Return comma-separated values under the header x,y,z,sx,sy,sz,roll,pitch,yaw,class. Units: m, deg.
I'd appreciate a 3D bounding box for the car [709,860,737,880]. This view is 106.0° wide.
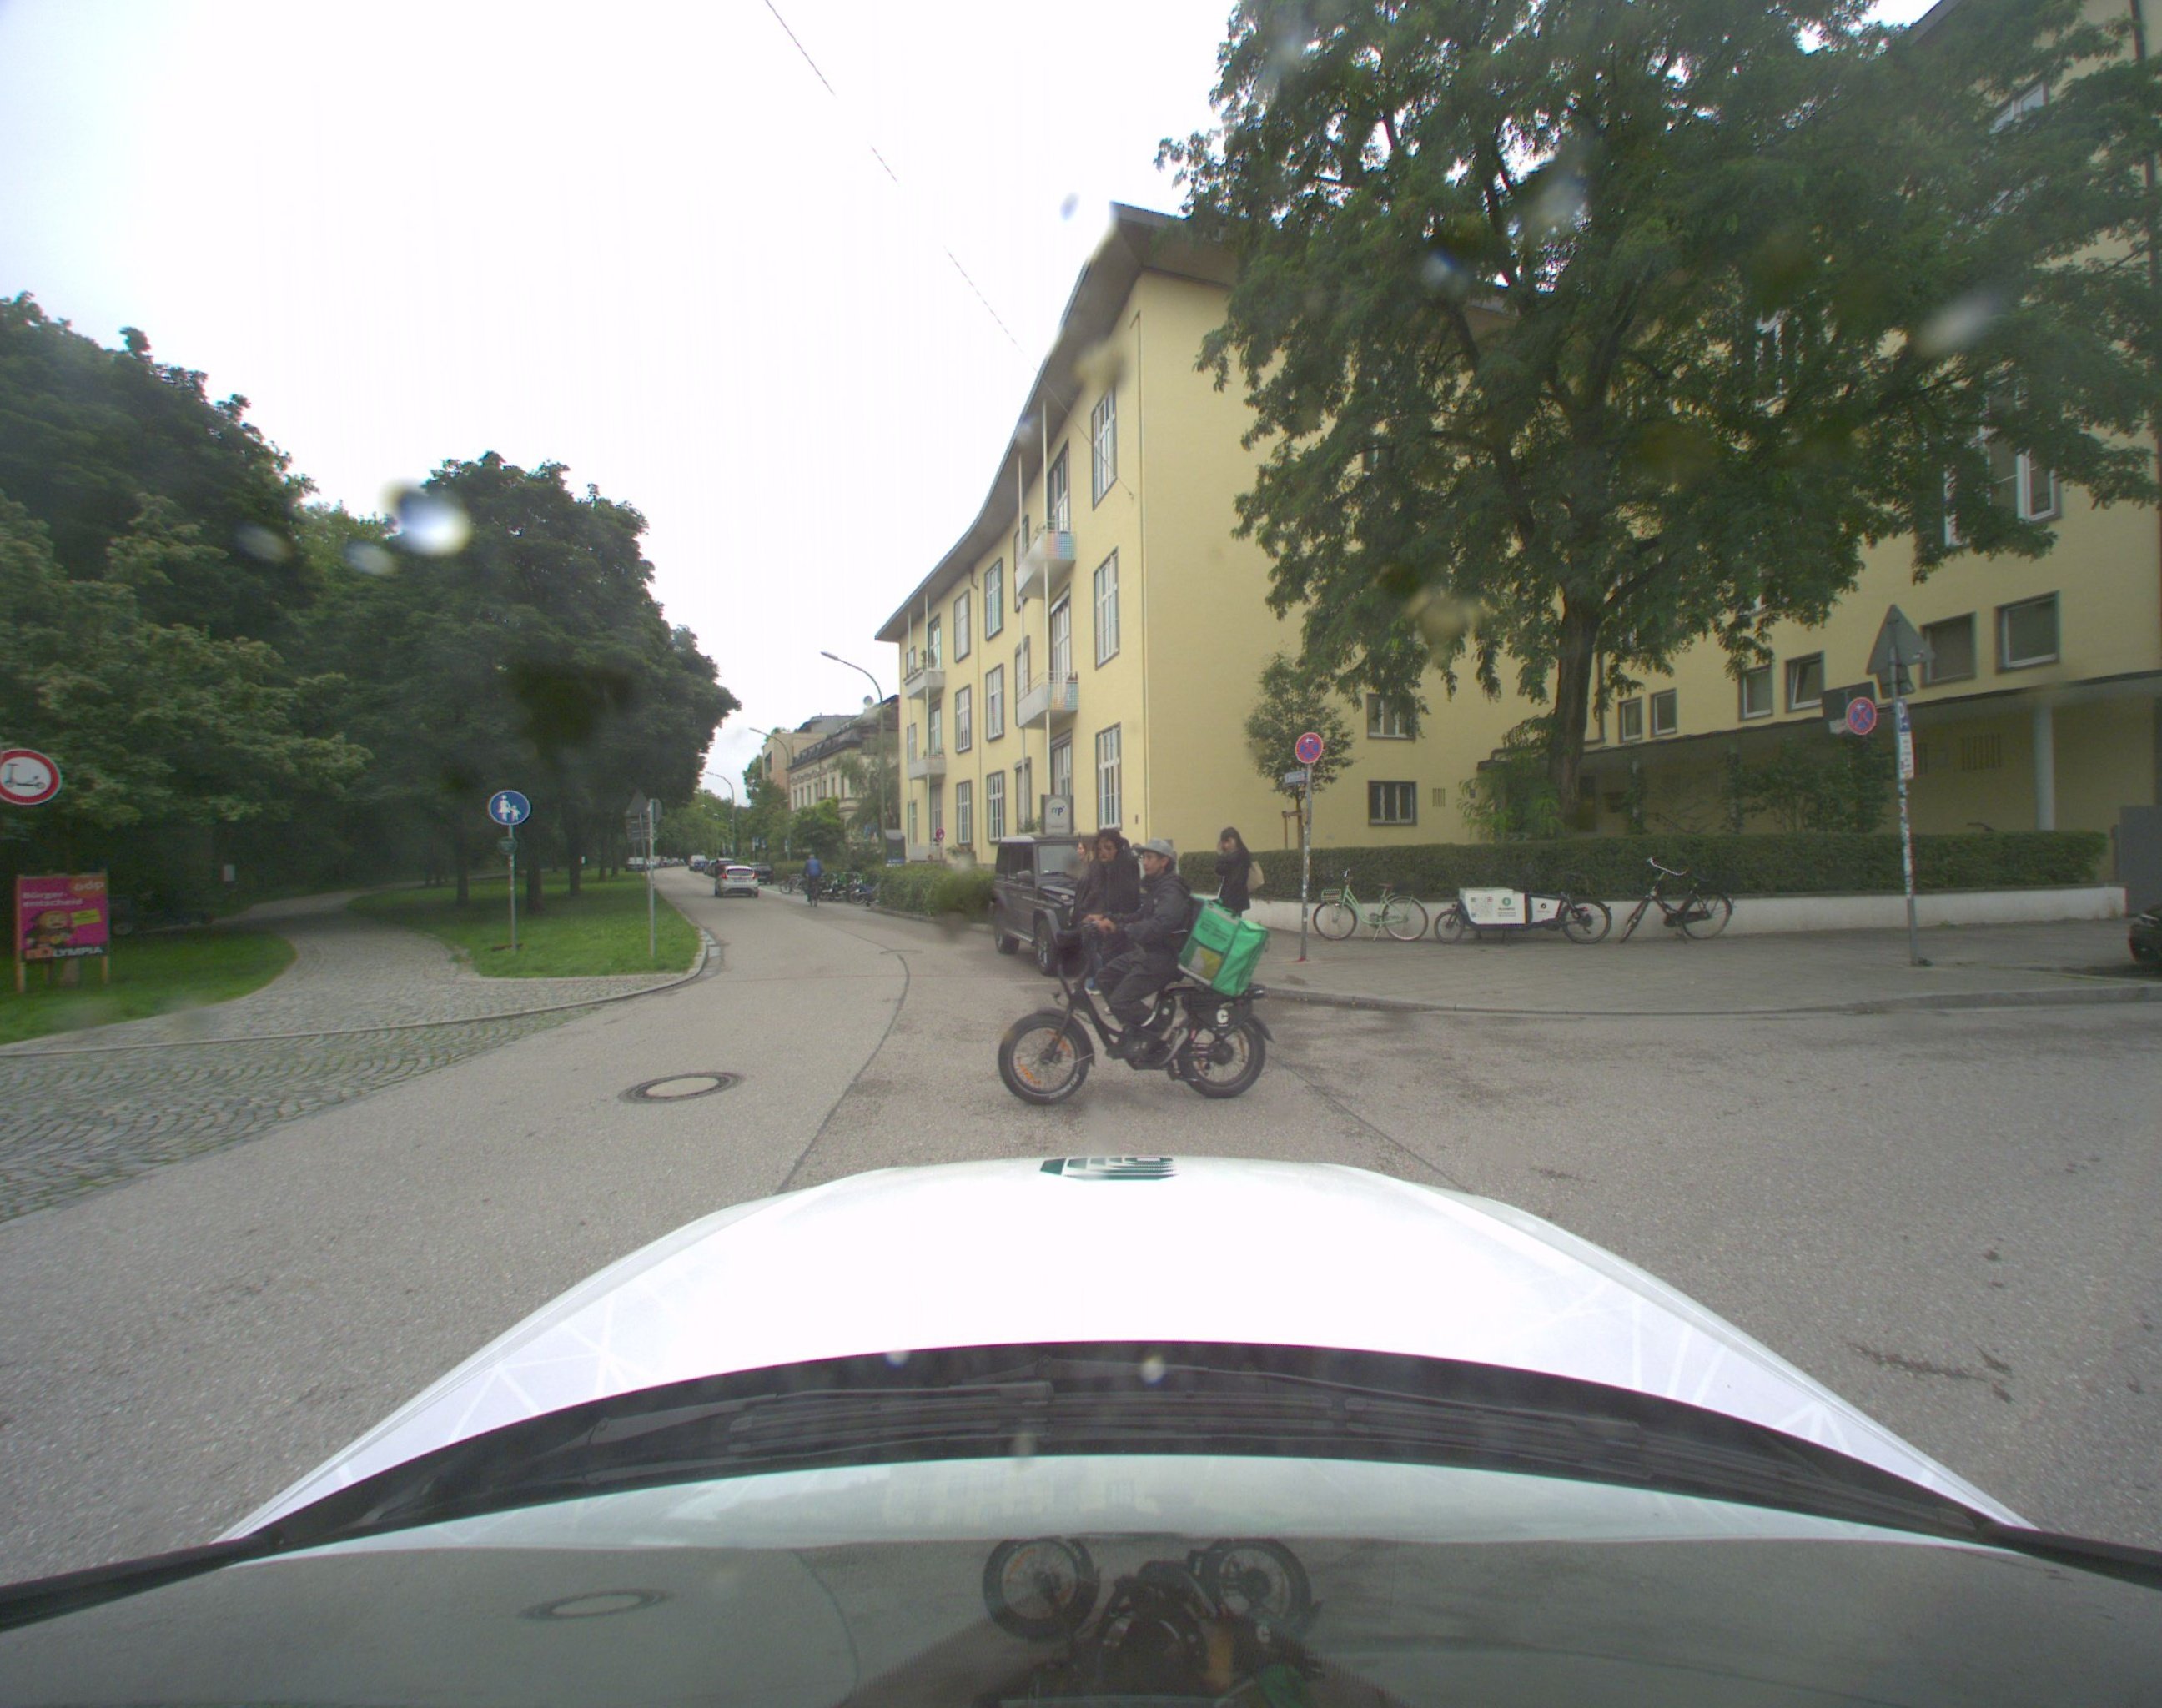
x,y,z,sx,sy,sz,roll,pitch,yaw,class
-31.614,1.417,71.907,1.804,1.680,3.961,-1,0,-30,car

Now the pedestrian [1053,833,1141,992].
x,y,z,sx,sy,sz,roll,pitch,yaw,class
0.195,0.649,9.384,0.820,1.746,0.743,-1,0,15,pedestrian

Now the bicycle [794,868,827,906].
x,y,z,sx,sy,sz,roll,pitch,yaw,class
-9.805,1.159,29.479,0.925,1.252,2.304,-1,0,-23,bicycle

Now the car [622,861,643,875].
x,y,z,sx,sy,sz,roll,pitch,yaw,class
-50.740,1.574,92.186,2.006,1.600,4.425,-1,0,-29,car

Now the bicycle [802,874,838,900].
x,y,z,sx,sy,sz,roll,pitch,yaw,class
-11.128,1.384,34.761,0.404,1.014,1.547,-2,0,32,bicycle

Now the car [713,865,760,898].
x,y,z,sx,sy,sz,roll,pitch,yaw,class
-16.044,1.217,37.867,1.757,1.406,3.694,-1,0,-27,car

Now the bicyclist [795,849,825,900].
x,y,z,sx,sy,sz,roll,pitch,yaw,class
-9.815,0.725,29.506,0.918,1.764,1.206,-1,0,-23,bicyclist

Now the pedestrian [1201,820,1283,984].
x,y,z,sx,sy,sz,roll,pitch,yaw,class
1.899,0.553,9.722,0.845,1.857,0.768,-3,-1,8,pedestrian

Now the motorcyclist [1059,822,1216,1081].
x,y,z,sx,sy,sz,roll,pitch,yaw,class
0.330,0.572,5.161,0.893,1.501,0.713,-1,0,-1,motorcyclist

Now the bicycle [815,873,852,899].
x,y,z,sx,sy,sz,roll,pitch,yaw,class
-10.348,1.340,34.091,0.404,1.014,1.548,-2,0,36,bicycle

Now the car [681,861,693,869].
x,y,z,sx,sy,sz,roll,pitch,yaw,class
-84.584,2.347,174.905,2.001,1.600,4.436,-1,0,-20,car

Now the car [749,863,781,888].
x,y,z,sx,sy,sz,roll,pitch,yaw,class
-21.394,1.435,55.084,1.656,1.558,3.528,-1,0,-27,car

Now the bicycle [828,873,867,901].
x,y,z,sx,sy,sz,roll,pitch,yaw,class
-9.536,1.340,33.316,0.362,1.014,1.547,-2,0,40,bicycle

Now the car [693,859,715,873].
x,y,z,sx,sy,sz,roll,pitch,yaw,class
-44.152,1.406,95.275,2.006,1.600,4.213,-1,0,-30,car

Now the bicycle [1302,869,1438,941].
x,y,z,sx,sy,sz,roll,pitch,yaw,class
4.599,0.820,13.059,1.924,1.085,0.532,-4,-2,38,bicycle

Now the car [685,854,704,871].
x,y,z,sx,sy,sz,roll,pitch,yaw,class
-48.973,1.078,103.227,2.077,1.966,4.934,-1,0,-26,car

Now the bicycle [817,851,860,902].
x,y,z,sx,sy,sz,roll,pitch,yaw,class
-9.982,0.906,33.556,0.451,2.013,1.688,-2,0,36,bicycle

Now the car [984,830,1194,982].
x,y,z,sx,sy,sz,roll,pitch,yaw,class
-0.119,0.660,12.726,1.879,1.887,4.590,-1,0,-18,car

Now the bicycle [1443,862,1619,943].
x,y,z,sx,sy,sz,roll,pitch,yaw,class
6.568,0.711,11.988,2.153,1.115,0.642,-1,0,11,bicycle

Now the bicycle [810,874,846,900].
x,y,z,sx,sy,sz,roll,pitch,yaw,class
-10.709,1.396,34.491,0.404,1.014,1.547,-2,0,32,bicycle

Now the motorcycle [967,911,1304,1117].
x,y,z,sx,sy,sz,roll,pitch,yaw,class
0.321,0.965,5.156,1.966,1.098,0.718,-1,0,-2,motorcycle

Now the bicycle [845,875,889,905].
x,y,z,sx,sy,sz,roll,pitch,yaw,class
-8.033,1.344,30.637,1.543,1.014,0.363,-2,0,-31,bicycle

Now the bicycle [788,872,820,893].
x,y,z,sx,sy,sz,roll,pitch,yaw,class
-14.326,1.474,42.143,0.404,1.014,1.547,-2,0,45,bicycle

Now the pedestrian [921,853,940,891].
x,y,z,sx,sy,sz,roll,pitch,yaw,class
-6.848,0.802,37.073,0.635,1.684,0.691,-2,0,-29,pedestrian

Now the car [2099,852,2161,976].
x,y,z,sx,sy,sz,roll,pitch,yaw,class
14.039,0.592,8.751,4.311,1.367,1.660,-1,-3,-4,car

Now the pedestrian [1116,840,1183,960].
x,y,z,sx,sy,sz,roll,pitch,yaw,class
1.040,0.680,12.583,0.846,1.757,0.952,-2,0,-3,pedestrian

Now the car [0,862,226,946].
x,y,z,sx,sy,sz,roll,pitch,yaw,class
-26.986,1.308,22.667,1.765,2.013,4.024,-2,0,27,car

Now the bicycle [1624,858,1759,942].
x,y,z,sx,sy,sz,roll,pitch,yaw,class
8.767,0.650,11.705,1.680,1.130,0.459,-1,0,-6,bicycle

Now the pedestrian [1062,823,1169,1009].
x,y,z,sx,sy,sz,roll,pitch,yaw,class
0.371,0.615,8.323,0.984,1.809,0.661,-2,-1,8,pedestrian

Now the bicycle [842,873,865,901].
x,y,z,sx,sy,sz,roll,pitch,yaw,class
-9.020,1.305,32.292,0.364,1.014,1.539,-2,0,4,bicycle

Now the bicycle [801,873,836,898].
x,y,z,sx,sy,sz,roll,pitch,yaw,class
-11.750,1.401,36.480,0.404,1.014,1.547,-2,0,32,bicycle

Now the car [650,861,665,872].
x,y,z,sx,sy,sz,roll,pitch,yaw,class
-69.507,2.059,133.687,2.003,1.600,4.431,-1,0,-25,car
